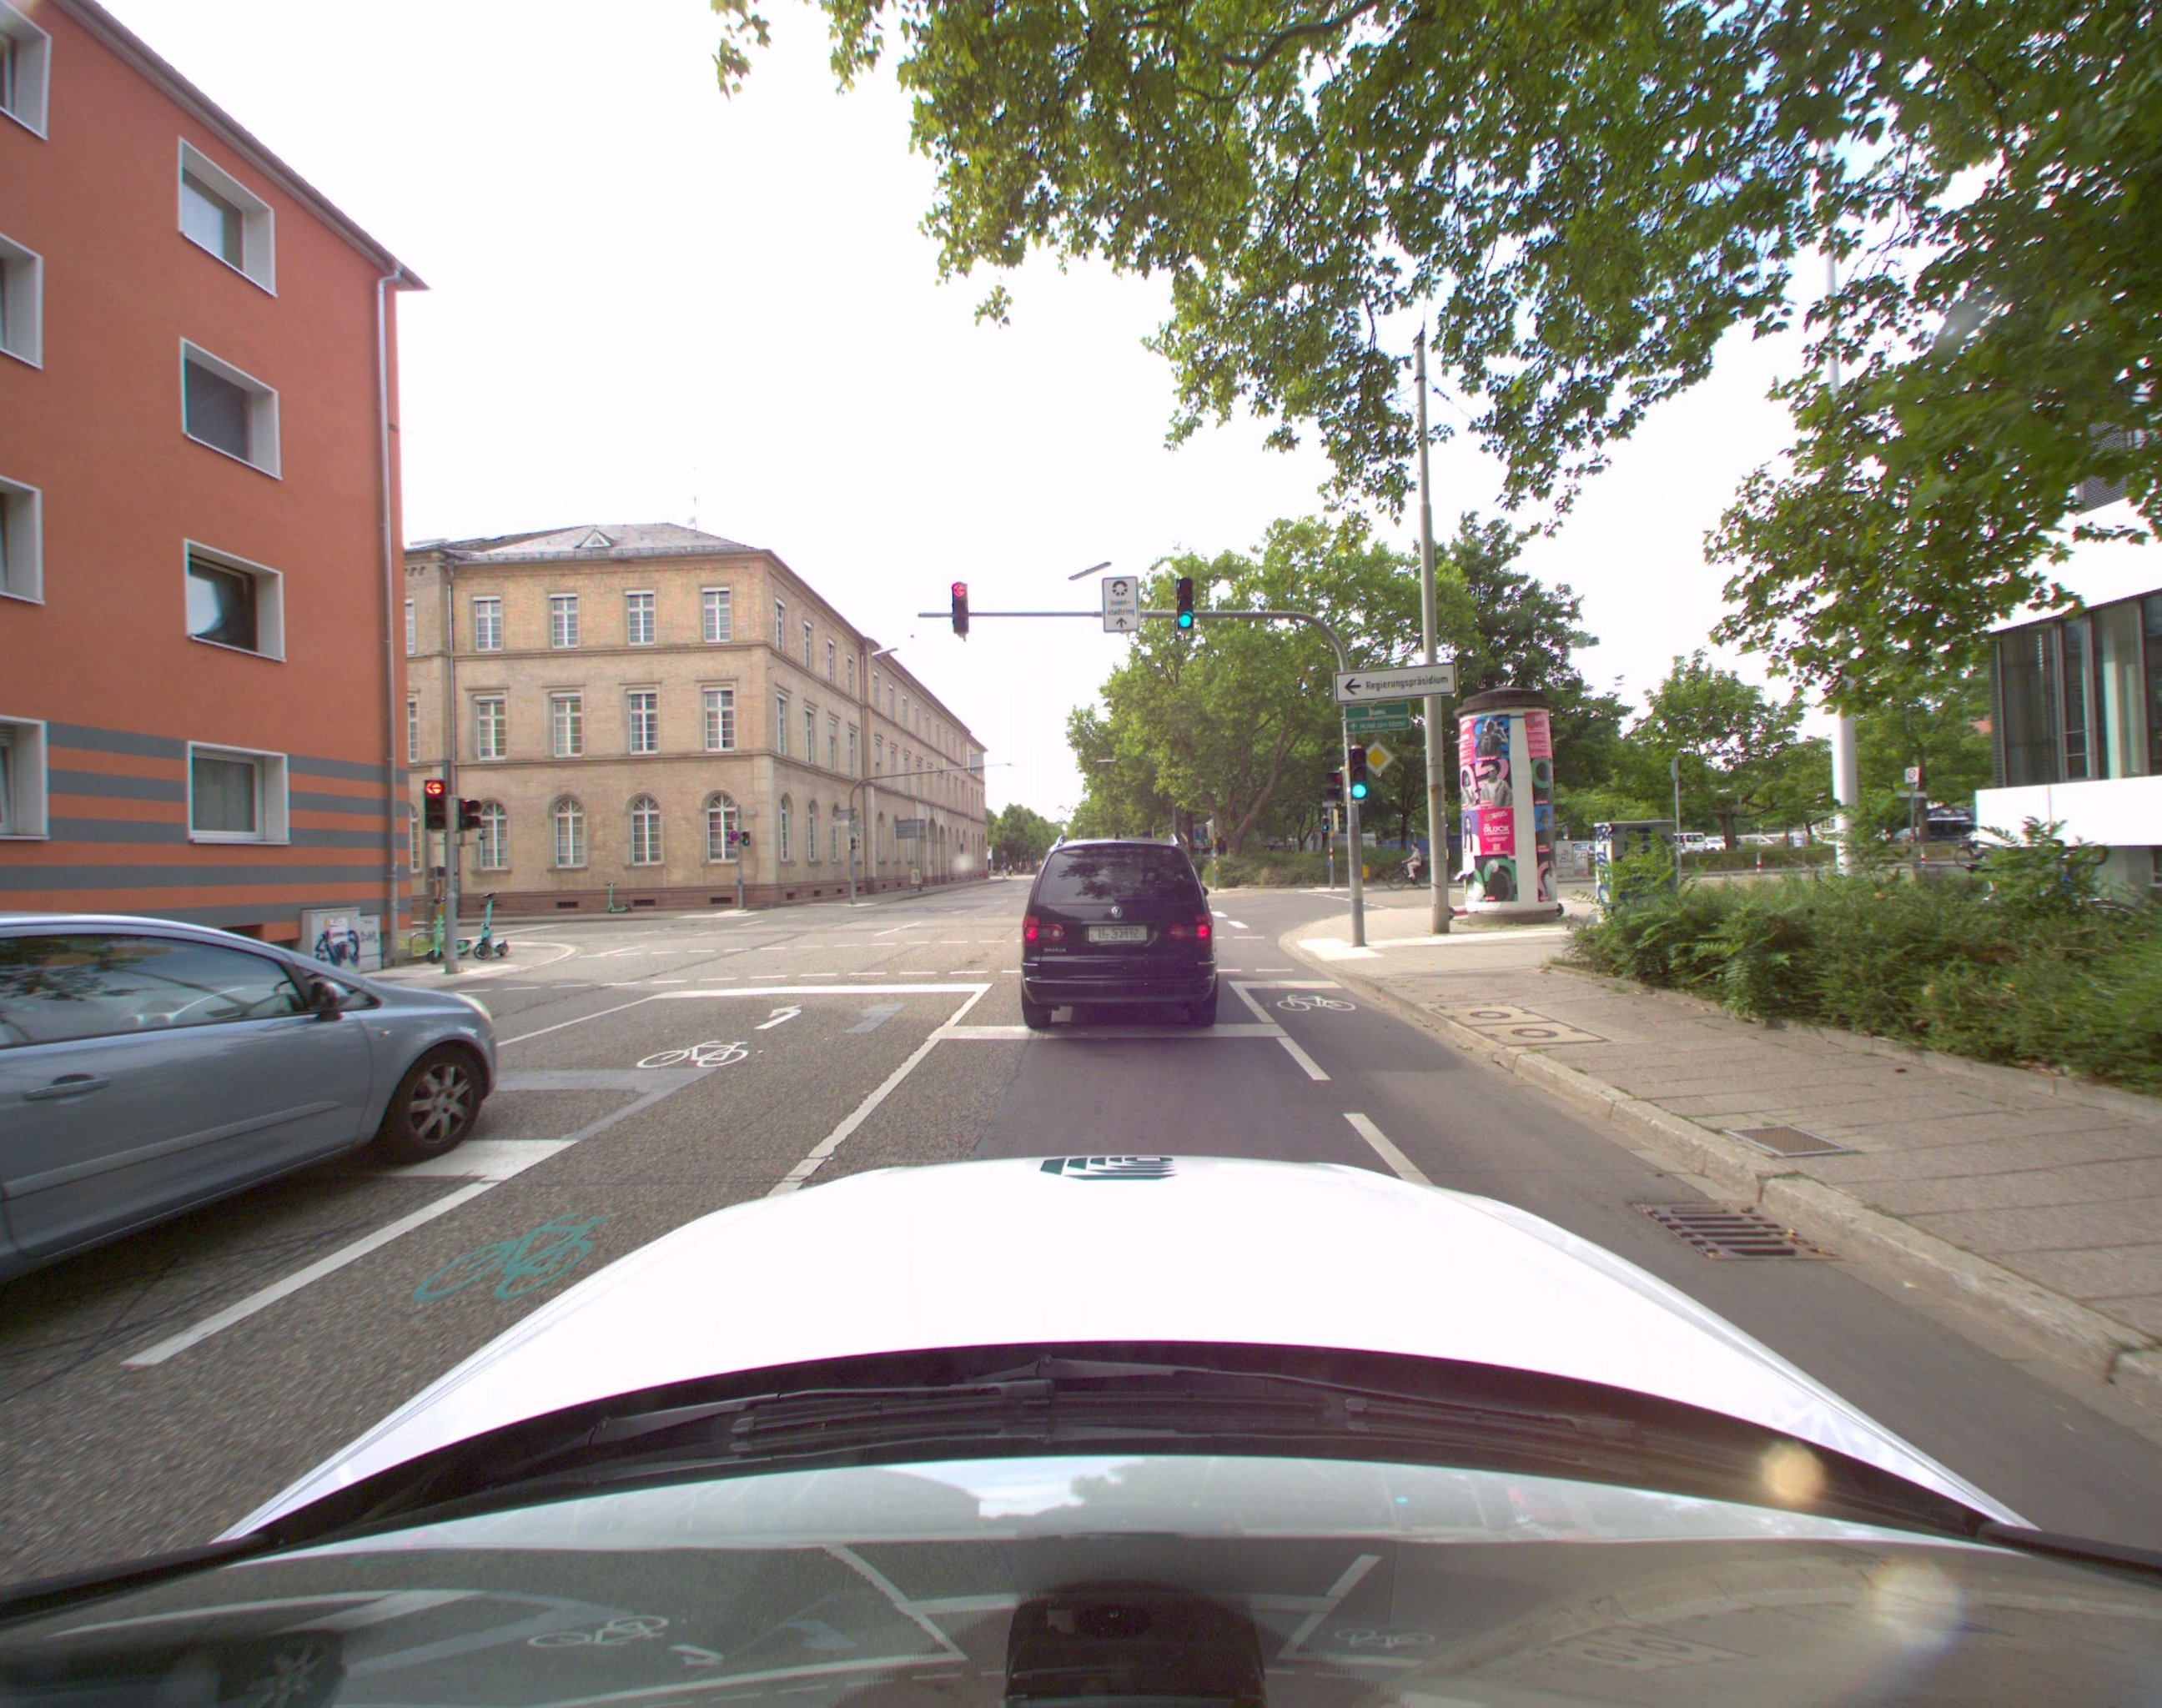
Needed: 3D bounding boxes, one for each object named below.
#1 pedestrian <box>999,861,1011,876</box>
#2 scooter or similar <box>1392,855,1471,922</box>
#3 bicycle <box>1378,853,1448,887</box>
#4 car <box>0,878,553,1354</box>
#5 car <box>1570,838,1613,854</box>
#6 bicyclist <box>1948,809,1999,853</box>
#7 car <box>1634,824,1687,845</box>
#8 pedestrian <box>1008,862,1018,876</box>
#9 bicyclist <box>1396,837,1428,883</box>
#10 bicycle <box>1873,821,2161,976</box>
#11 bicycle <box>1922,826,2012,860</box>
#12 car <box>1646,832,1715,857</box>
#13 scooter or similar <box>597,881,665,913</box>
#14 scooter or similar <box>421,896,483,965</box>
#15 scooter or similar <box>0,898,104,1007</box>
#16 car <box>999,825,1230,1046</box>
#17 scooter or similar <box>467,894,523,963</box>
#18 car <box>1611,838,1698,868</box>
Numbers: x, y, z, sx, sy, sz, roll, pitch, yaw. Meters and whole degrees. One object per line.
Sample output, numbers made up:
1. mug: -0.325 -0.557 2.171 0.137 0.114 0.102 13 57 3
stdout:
1. pedestrian: -8.843 1.742 95.313 0.952 1.741 1.262 0 -1 20
2. scooter or similar: 6.821 0.663 15.871 1.299 1.209 0.345 -4 -1 6
3. bicycle: 12.426 0.609 30.529 2.233 1.172 0.917 -2 -2 6
4. car: -4.238 0.890 3.231 1.662 1.439 3.821 -2 0 2
5. car: 51.969 -0.782 83.003 1.987 1.580 3.788 0 0 -1
6. bicyclist: 33.821 -0.866 30.870 0.825 1.577 0.917 -2 -2 7
7. car: 59.189 -1.936 83.321 1.987 2.014 4.771 0 0 -1
8. pedestrian: -7.894 1.777 95.155 0.888 1.641 0.857 0 -1 20
9. bicyclist: 12.410 0.231 30.546 0.825 1.678 0.917 -2 -2 7
10. bicycle: 7.976 0.342 7.007 0.695 1.169 1.726 0 0 2
11. bicycle: 33.589 -0.407 30.911 2.233 1.172 0.917 -2 -2 6
12. car: 49.044 -0.748 66.721 1.989 2.014 4.769 0 0 -2
13. scooter or similar: -16.881 1.602 30.583 2.355 1.165 0.561 0 -1 7
14. scooter or similar: -11.731 1.398 15.216 0.329 1.158 1.349 0 -1 -11
15. scooter or similar: -11.779 1.085 8.960 0.367 1.124 1.355 0 0 3
16. car: 0.333 0.666 8.579 1.787 1.708 4.132 -2 0 2
17. scooter or similar: -11.113 1.389 15.485 0.329 1.179 1.338 0 -1 -11
18. car: 35.426 -0.057 50.473 1.987 1.794 4.771 0 0 -1
